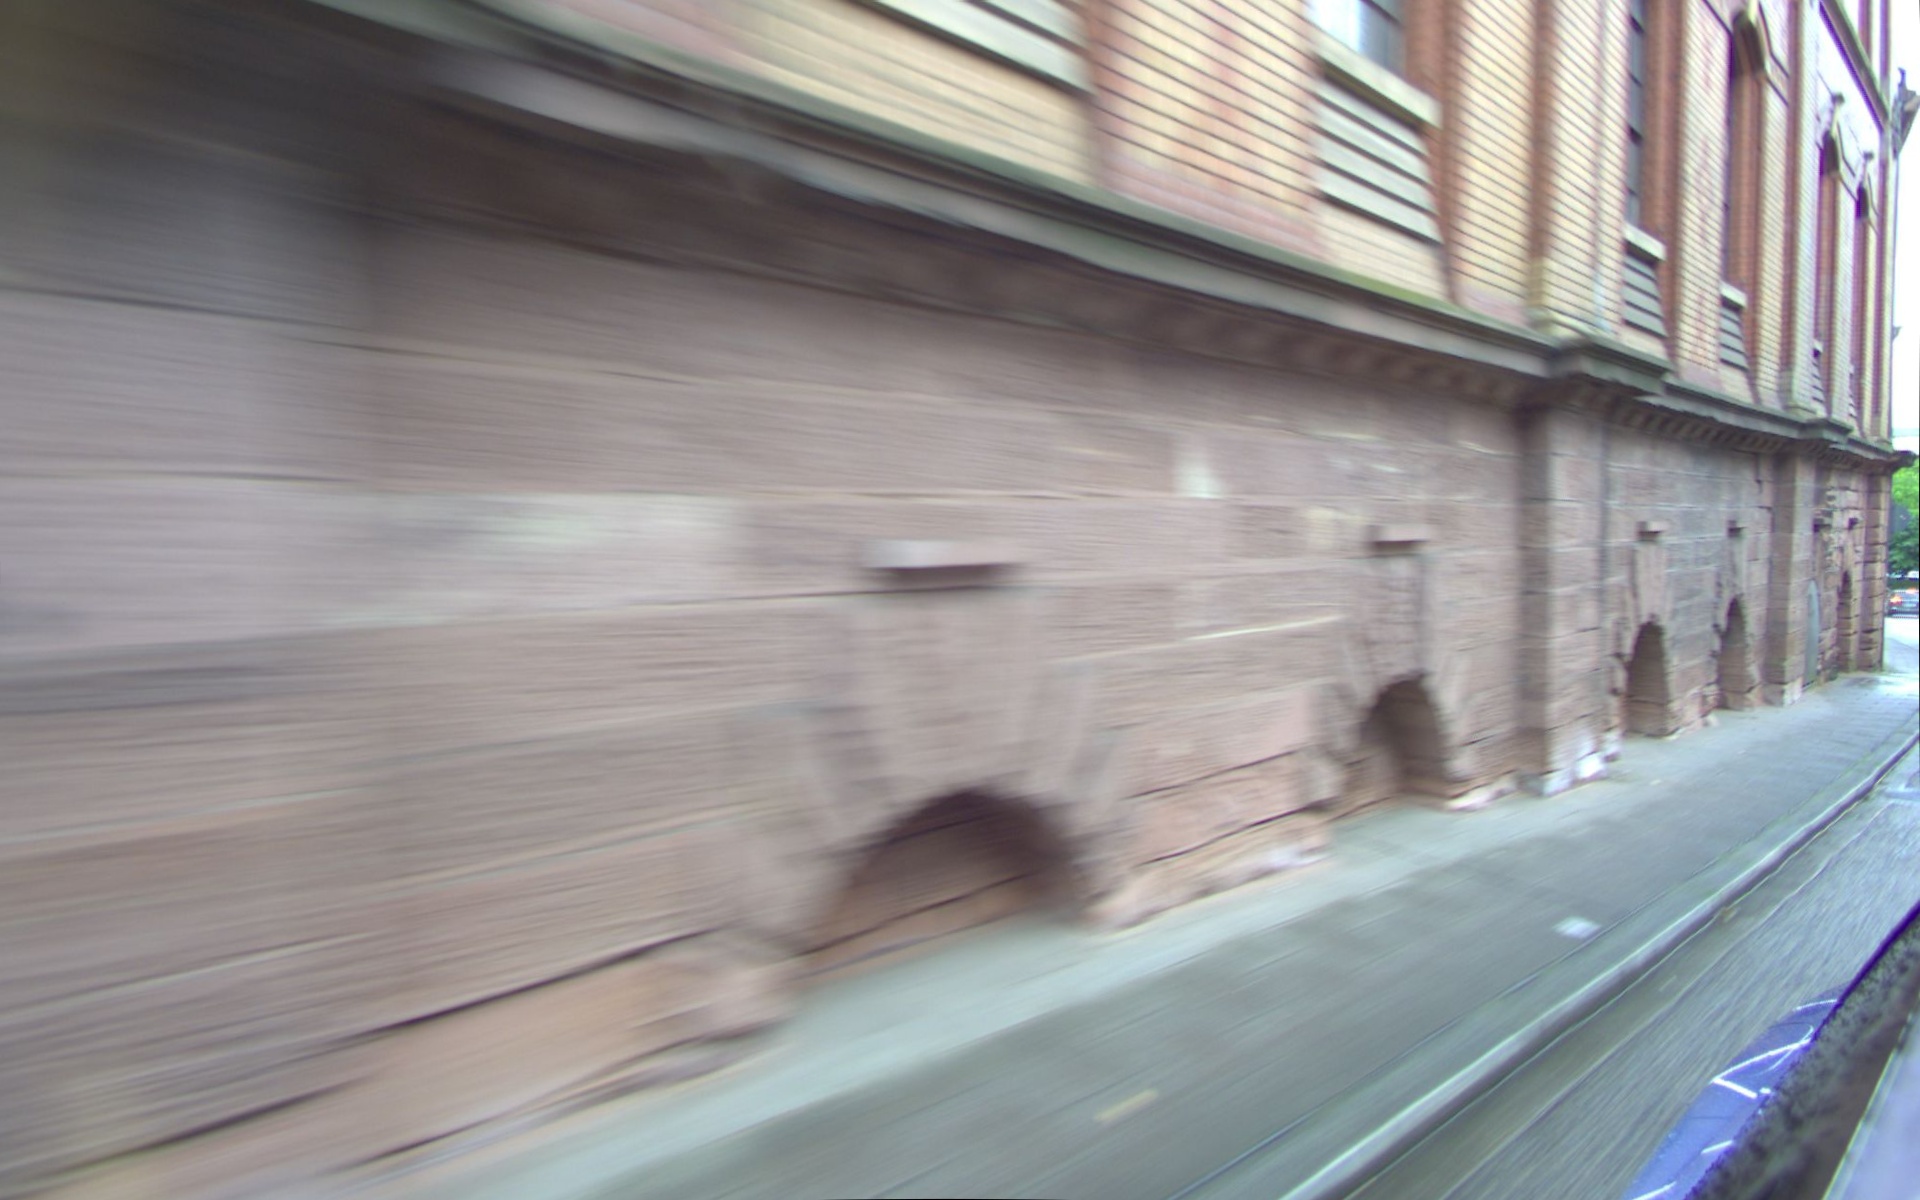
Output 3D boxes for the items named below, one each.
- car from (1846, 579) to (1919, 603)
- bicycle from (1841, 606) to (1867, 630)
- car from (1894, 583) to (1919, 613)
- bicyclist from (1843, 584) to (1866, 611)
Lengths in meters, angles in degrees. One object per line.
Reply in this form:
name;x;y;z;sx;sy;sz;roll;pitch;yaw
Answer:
car;63.437;-0.621;69.355;3.922;1.529;1.801;1;1;-2
bicycle;49.862;0.974;56.446;0.883;1.202;2.106;1;2;36
car;55.820;-0.122;58.952;1.762;1.678;3.931;3;3;39
bicyclist;49.867;-0.154;56.427;0.883;1.508;0.956;1;2;37
